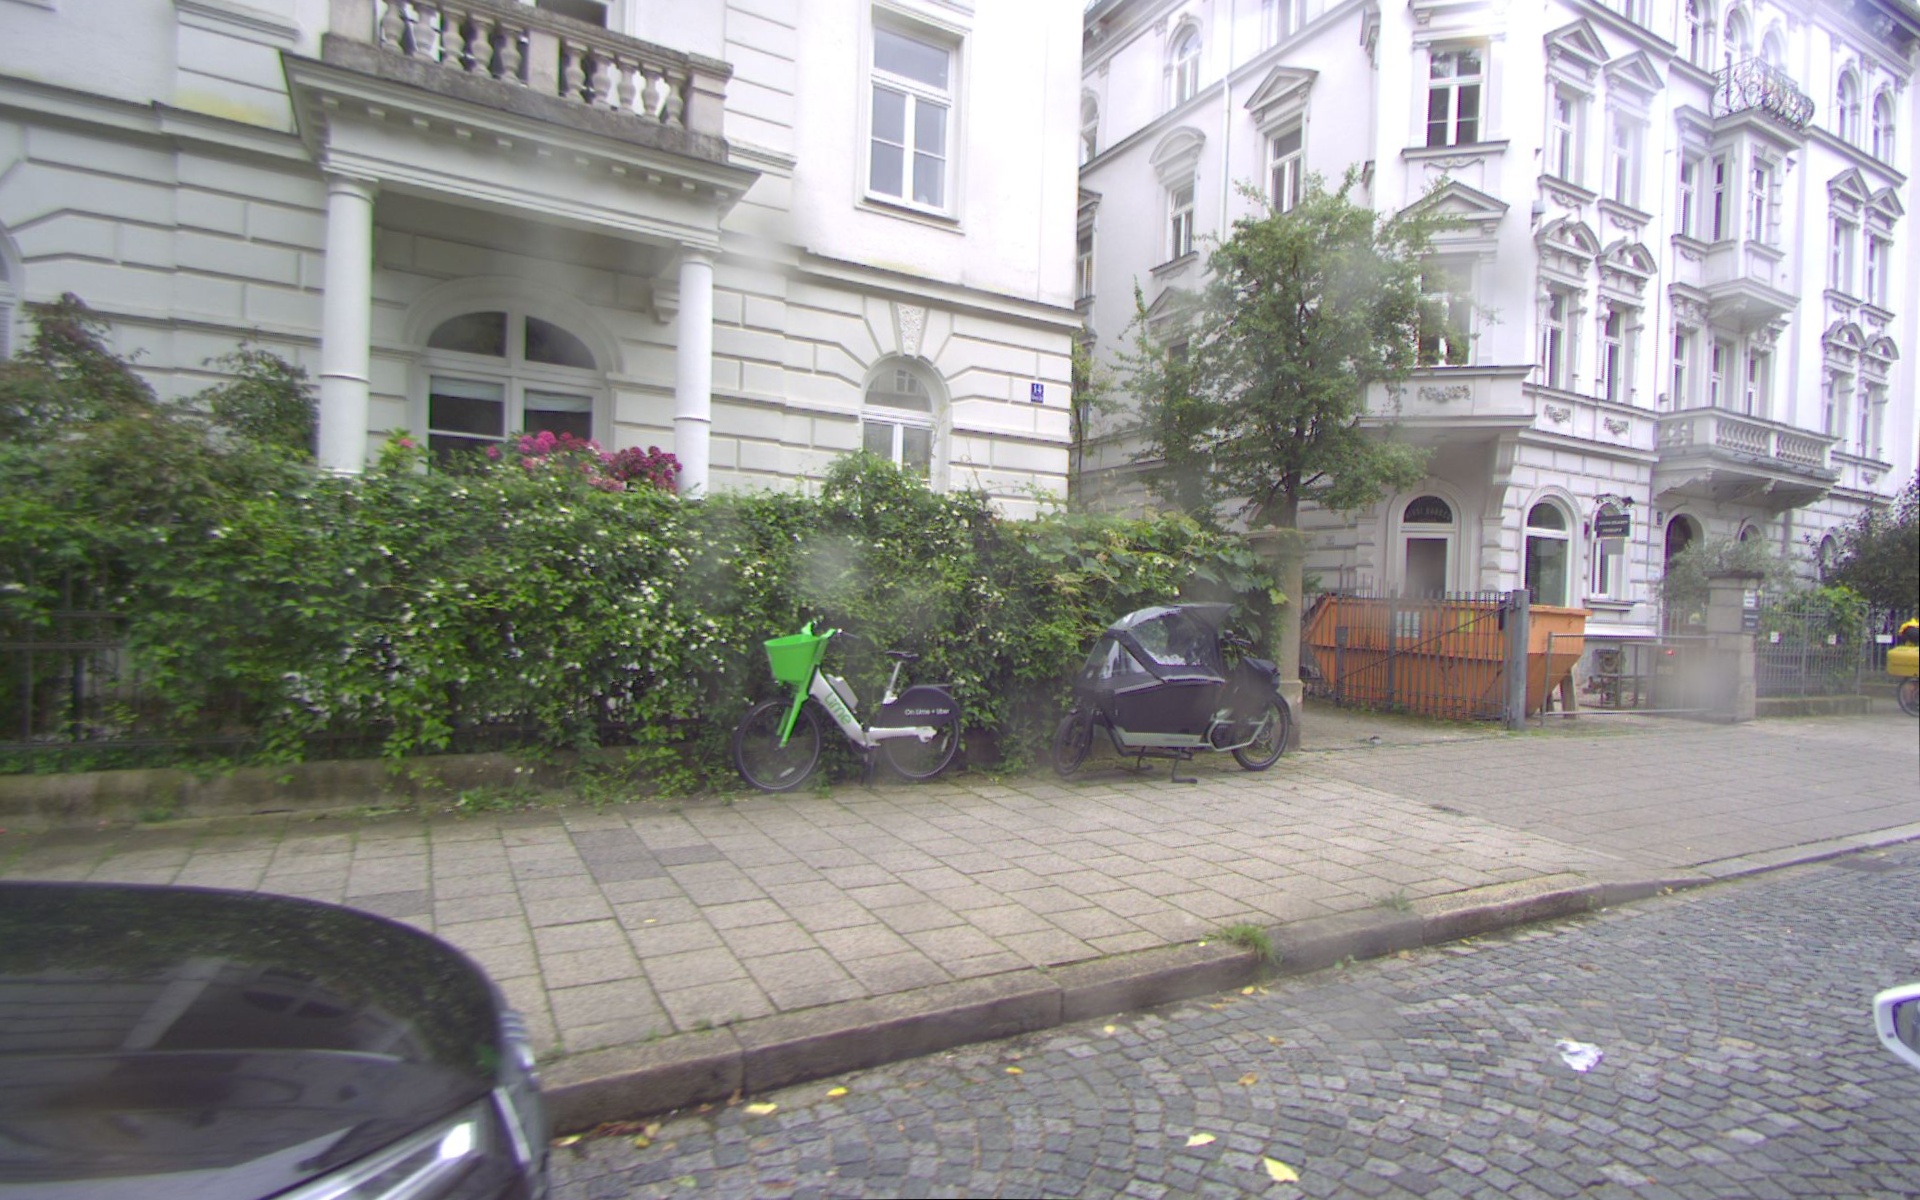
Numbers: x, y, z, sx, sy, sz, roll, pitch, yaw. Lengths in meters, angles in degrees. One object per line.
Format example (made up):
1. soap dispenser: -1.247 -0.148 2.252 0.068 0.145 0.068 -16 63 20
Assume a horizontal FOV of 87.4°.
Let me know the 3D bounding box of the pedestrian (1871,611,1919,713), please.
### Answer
1. pedestrian: 16.486 1.059 17.467 0.687 1.710 0.714 2 1 -29

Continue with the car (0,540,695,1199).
1. car: -2.680 0.657 1.033 4.352 1.436 1.880 2 -3 -28

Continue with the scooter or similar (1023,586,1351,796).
1. scooter or similar: 1.891 0.677 8.191 2.625 1.461 0.936 2 2 -30

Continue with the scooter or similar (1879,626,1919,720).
1. scooter or similar: 16.363 1.199 16.588 2.624 1.461 0.937 2 1 -29

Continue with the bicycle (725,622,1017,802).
1. bicycle: -0.603 0.757 7.258 2.027 1.137 0.574 2 1 -31
